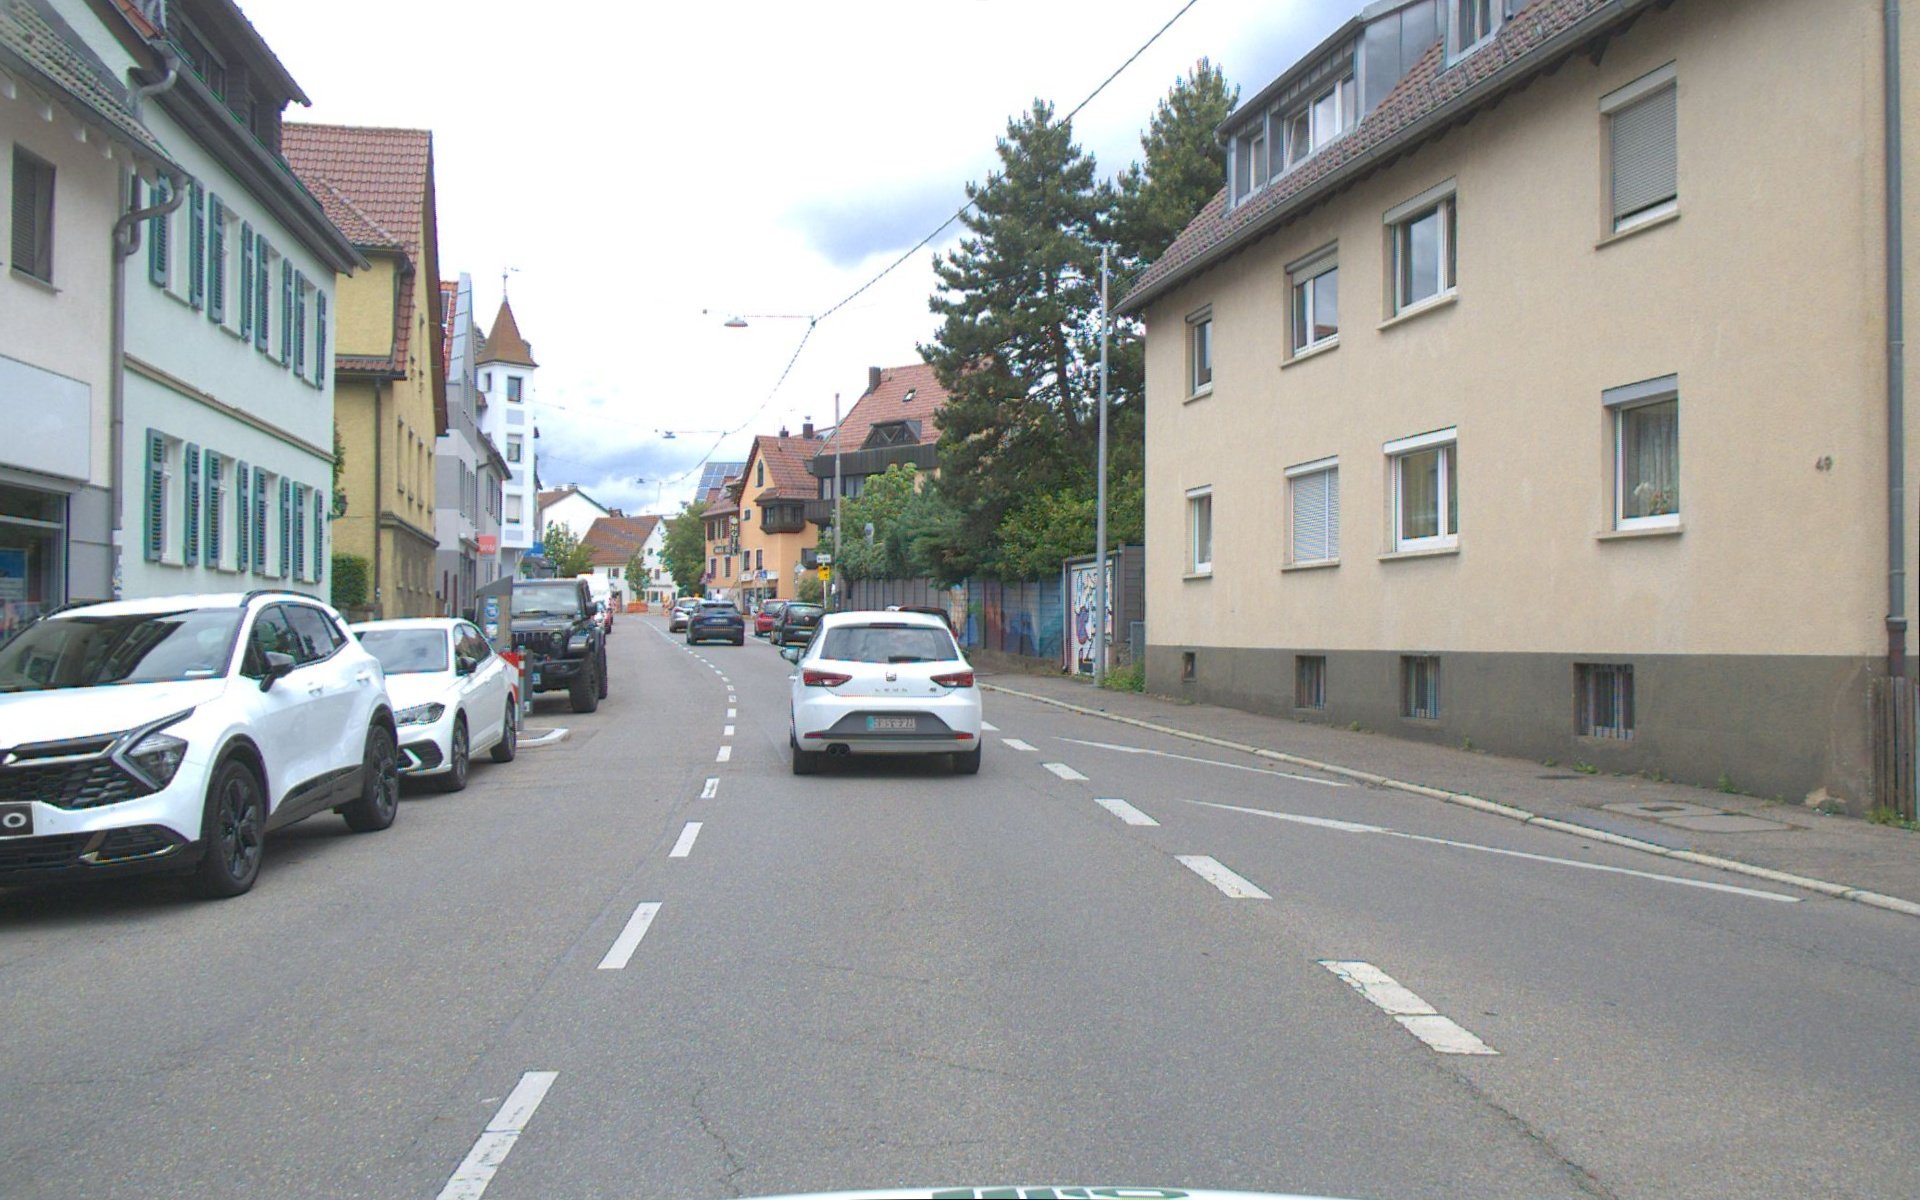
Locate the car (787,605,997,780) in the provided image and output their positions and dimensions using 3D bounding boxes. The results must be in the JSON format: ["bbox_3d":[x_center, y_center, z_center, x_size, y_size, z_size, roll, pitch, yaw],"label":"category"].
[{"bbox_3d":[-0.782,0.797,16.158,1.725,1.477,3.993,0,0,-7],"label":"car"}]

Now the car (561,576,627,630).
[{"bbox_3d":[-19.326,0.141,87.584,2.108,2.734,5.545,1,0,0],"label":"car"}]

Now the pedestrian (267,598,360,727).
[{"bbox_3d":[-7.954,0.760,20.383,0.790,1.526,0.974,2,-1,-7],"label":"pedestrian"}]

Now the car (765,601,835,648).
[{"bbox_3d":[-5.377,0.794,55.166,1.729,1.477,3.984,0,0,-15],"label":"car"}]

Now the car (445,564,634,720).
[{"bbox_3d":[-6.190,0.550,24.888,1.955,2.048,4.665,-2,1,-5],"label":"car"}]

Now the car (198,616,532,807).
[{"bbox_3d":[-5.216,0.909,15.085,1.959,1.461,3.913,1,0,-6],"label":"car"}]

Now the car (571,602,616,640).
[{"bbox_3d":[-15.784,0.864,71.260,1.768,1.505,4.038,-2,0,-12],"label":"car"}]

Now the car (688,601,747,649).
[{"bbox_3d":[-7.964,0.794,54.115,1.727,1.477,3.989,0,0,-11],"label":"car"}]

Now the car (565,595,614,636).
[{"bbox_3d":[-14.664,0.605,65.561,1.768,1.505,4.038,-2,0,-12],"label":"car"}]

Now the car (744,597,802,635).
[{"bbox_3d":[-7.473,0.629,65.733,1.729,1.477,3.984,0,0,-15],"label":"car"}]

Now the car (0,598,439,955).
[{"bbox_3d":[-4.833,0.837,10.205,1.958,1.662,4.854,1,0,-4],"label":"car"}]

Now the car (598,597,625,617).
[{"bbox_3d":[-31.880,0.616,151.460,1.758,1.731,3.999,1,0,-2],"label":"car"}]

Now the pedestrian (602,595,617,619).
[{"bbox_3d":[-30.438,0.580,143.669,1.206,2.049,1.172,1,0,-12],"label":"pedestrian"}]

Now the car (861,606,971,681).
[{"bbox_3d":[-1.012,0.897,35.964,1.727,1.477,3.989,2,-1,-11],"label":"car"}]

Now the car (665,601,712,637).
[{"bbox_3d":[-11.566,0.786,70.412,1.728,1.477,3.986,0,0,-13],"label":"car"}]
